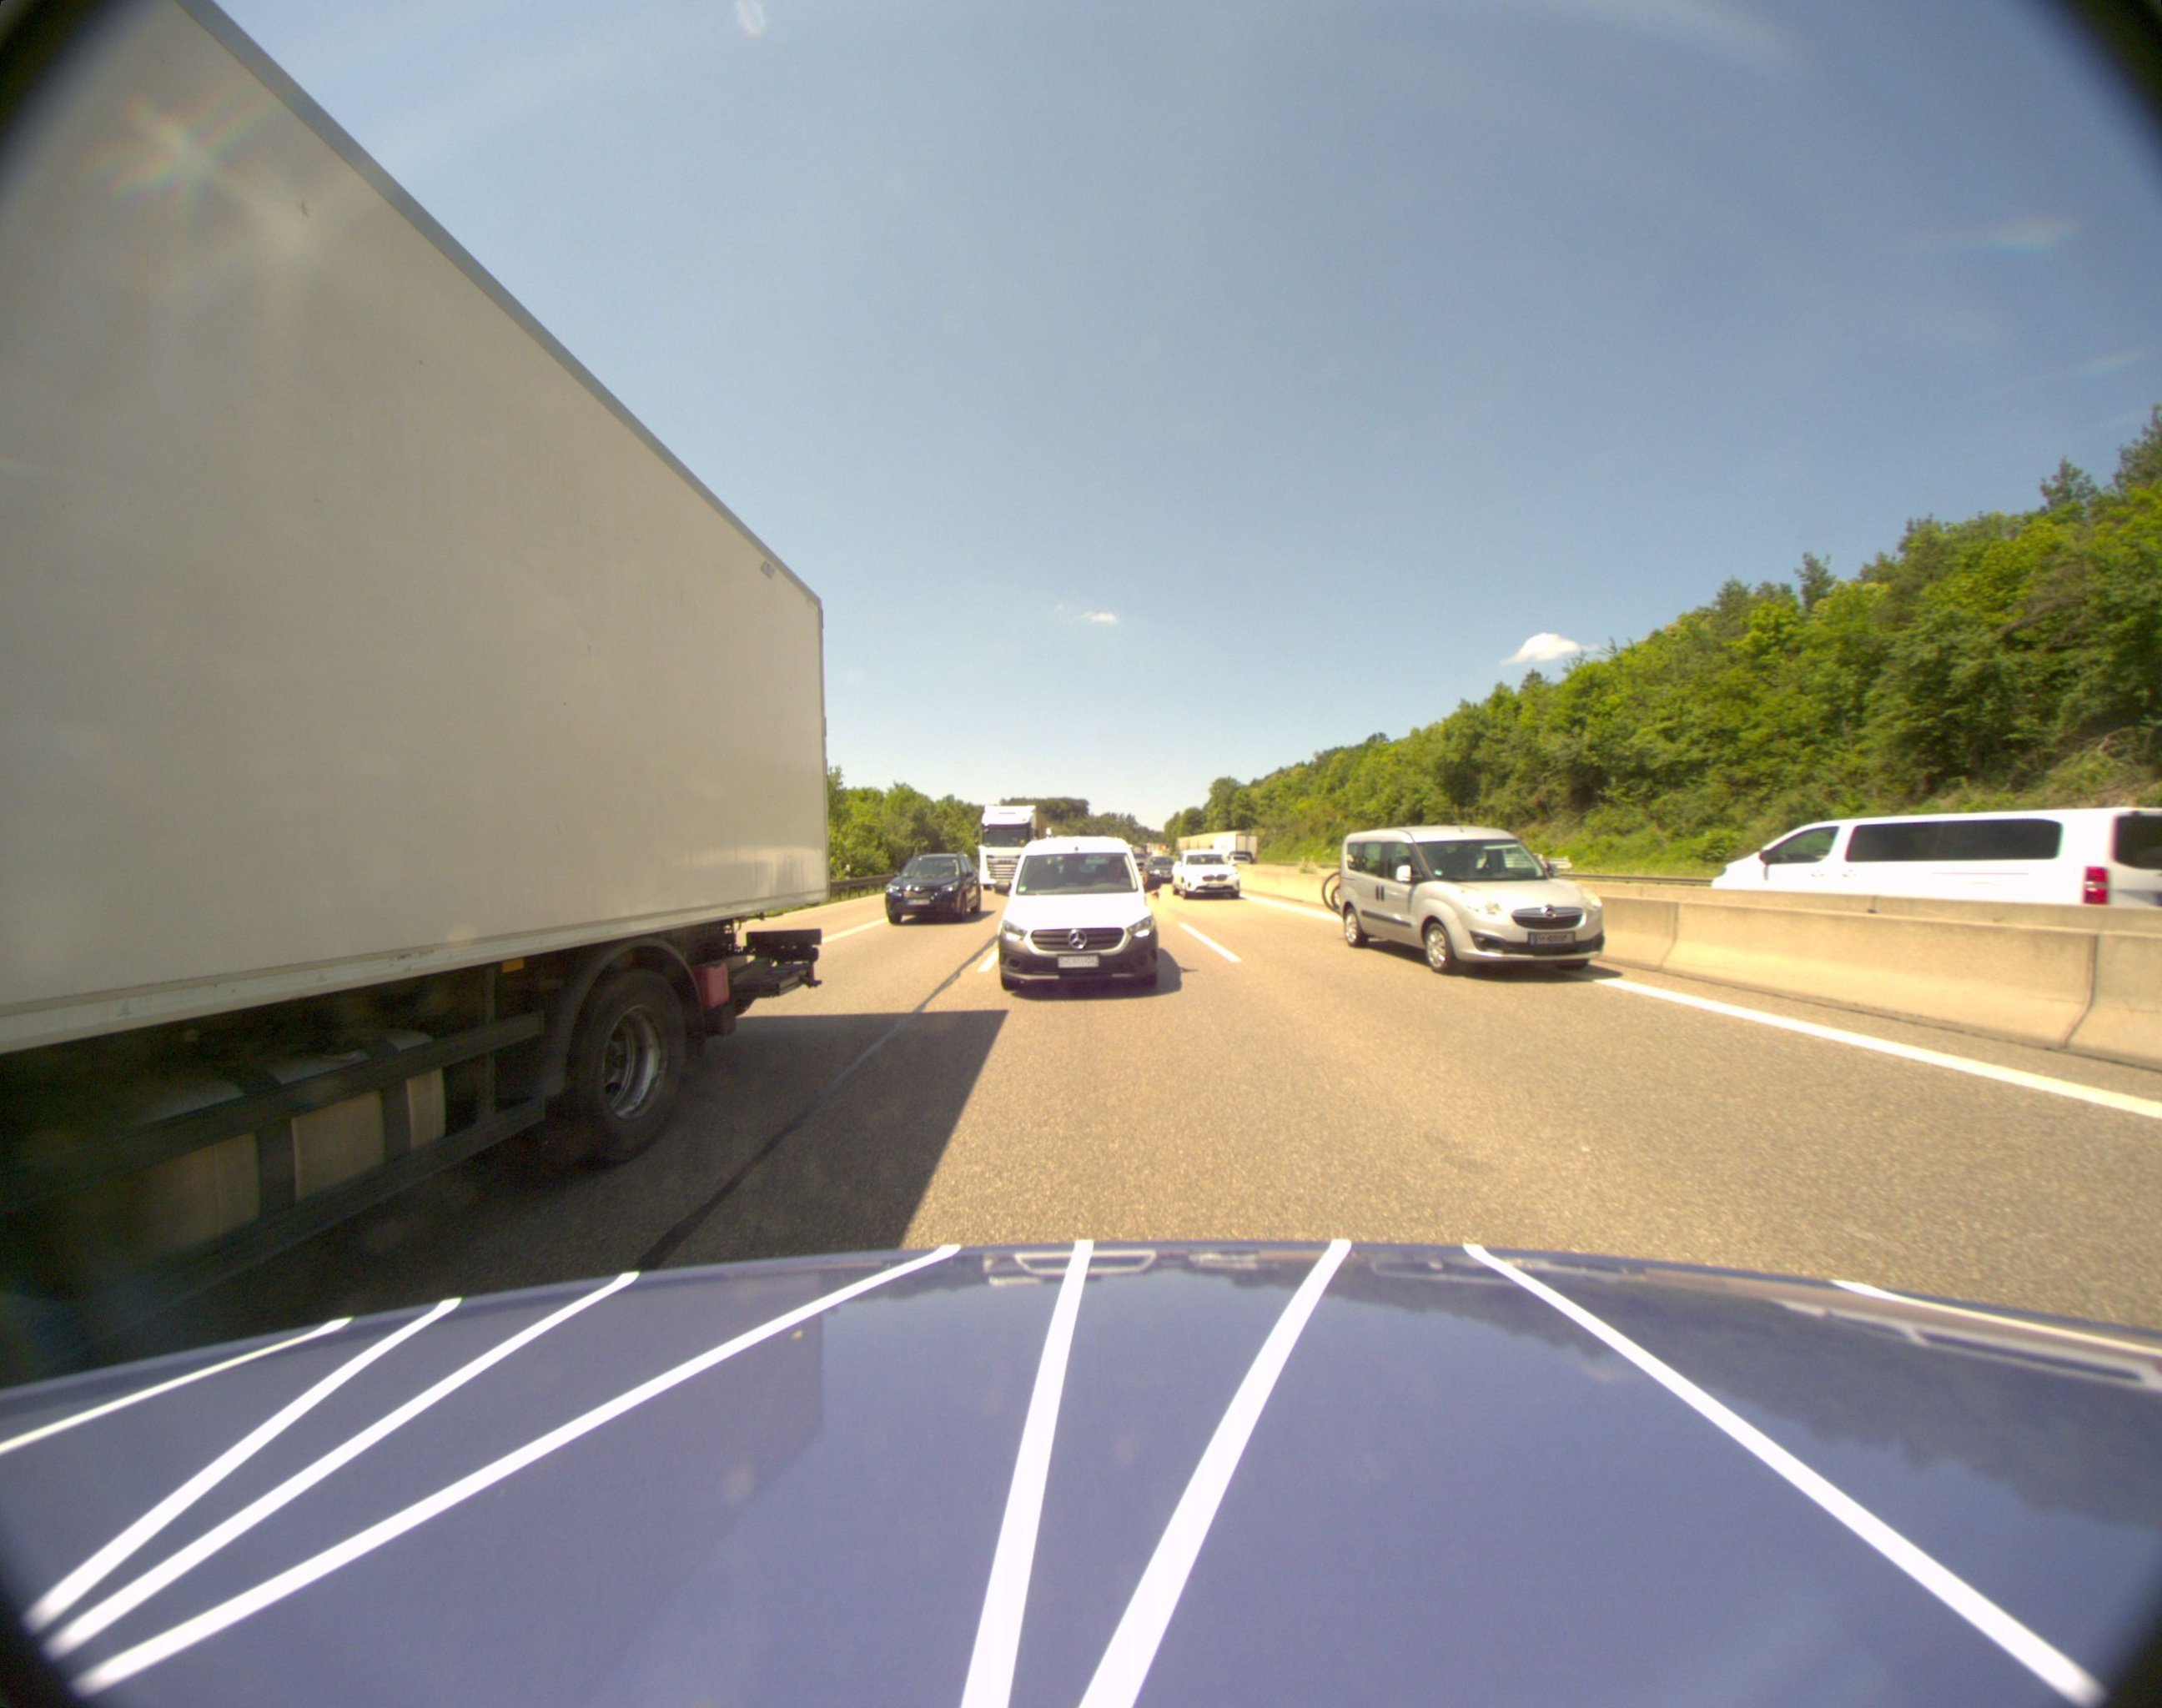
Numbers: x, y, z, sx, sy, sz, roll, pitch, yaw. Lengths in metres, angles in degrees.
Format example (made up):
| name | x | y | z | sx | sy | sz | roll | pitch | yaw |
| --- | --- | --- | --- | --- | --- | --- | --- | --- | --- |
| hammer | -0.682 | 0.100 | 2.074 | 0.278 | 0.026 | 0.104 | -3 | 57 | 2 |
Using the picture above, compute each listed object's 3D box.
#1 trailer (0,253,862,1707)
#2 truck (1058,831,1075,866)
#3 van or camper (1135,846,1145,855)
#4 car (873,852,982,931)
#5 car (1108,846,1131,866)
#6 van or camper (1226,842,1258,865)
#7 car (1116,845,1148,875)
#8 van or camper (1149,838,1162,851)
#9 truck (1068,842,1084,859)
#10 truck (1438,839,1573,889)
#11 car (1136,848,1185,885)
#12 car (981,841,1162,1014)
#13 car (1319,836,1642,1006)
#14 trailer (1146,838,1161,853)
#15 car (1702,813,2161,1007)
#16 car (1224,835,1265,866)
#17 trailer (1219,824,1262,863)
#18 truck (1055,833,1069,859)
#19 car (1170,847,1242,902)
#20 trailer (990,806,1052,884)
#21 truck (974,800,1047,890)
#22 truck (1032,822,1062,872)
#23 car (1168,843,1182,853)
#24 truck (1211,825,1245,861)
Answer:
| name | x | y | z | sx | sy | sz | roll | pitch | yaw |
| --- | --- | --- | --- | --- | --- | --- | --- | --- | --- |
| trailer | -3.384 | 0.281 | 3.212 | 2.562 | 2.882 | 7.881 | -2 | 0 | 0 |
| truck | -1.931 | -0.664 | 102.737 | 2.187 | 4.437 | 10.868 | -1 | 0 | -1 |
| van or camper | 18.194 | -1.036 | 235.727 | 2.400 | 2.859 | 6.711 | -1 | 0 | -1 |
| car | -3.768 | 0.839 | 19.461 | 1.999 | 1.682 | 4.609 | 0 | 1 | -2 |
| car | 4.070 | 0.174 | 80.188 | 1.999 | 2.002 | 3.998 | -2 | 1 | -2 |
| van or camper | 14.640 | -0.072 | 69.411 | 1.998 | 2.002 | 4.927 | -2 | 1 | 2 |
| car | 3.599 | 0.407 | 54.155 | 1.998 | 2.002 | 4.000 | -1 | 0 | 1 |
| van or camper | 15.444 | -2.014 | 157.327 | 1.999 | 2.371 | 4.806 | 4 | 1 | -2 |
| truck | -1.379 | -0.904 | 206.277 | 4.084 | 4.403 | 11.396 | -2 | 0 | -1 |
| truck | 18.952 | 0.344 | 34.414 | 2.357 | 2.002 | 6.490 | -2 | 1 | -1 |
| car | 4.096 | 0.585 | 39.820 | 1.999 | 1.747 | 3.998 | -2 | 1 | -2 |
| car | -0.077 | 0.702 | 9.804 | 1.756 | 1.681 | 4.363 | -2 | 1 | 0 |
| car | 5.040 | 0.667 | 10.561 | 1.857 | 1.762 | 4.916 | -2 | 1 | 0 |
| trailer | 20.404 | -2.393 | 213.670 | 3.005 | 3.850 | 11.397 | -2 | 1 | 0 |
| car | 11.548 | 0.522 | 10.399 | 1.999 | 2.002 | 4.956 | -2 | 1 | -1 |
| car | 11.444 | -0.272 | 53.417 | 1.998 | 2.002 | 3.999 | -2 | 1 | 1 |
| trailer | 19.472 | -1.324 | 93.727 | 2.956 | 4.456 | 10.814 | -2 | 1 | 0 |
| truck | -3.149 | -1.207 | 127.257 | 2.187 | 4.073 | 10.868 | -1 | 0 | -1 |
| car | 4.295 | 0.642 | 26.680 | 1.824 | 1.696 | 3.999 | -2 | 1 | 0 |
| trailer | -3.325 | -0.561 | 45.234 | 2.767 | 4.061 | 11.614 | 0 | 1 | 0 |
| truck | -3.405 | -0.477 | 38.530 | 2.766 | 4.061 | 7.332 | -2 | 1 | 1 |
| truck | -3.168 | -0.580 | 73.174 | 2.395 | 4.437 | 10.868 | -1 | 0 | -1 |
| car | 19.428 | -1.238 | 157.196 | 2.119 | 2.002 | 4.476 | -2 | 1 | -2 |
| truck | 19.440 | -1.465 | 100.938 | 2.957 | 4.456 | 7.516 | -2 | 1 | -1 |
